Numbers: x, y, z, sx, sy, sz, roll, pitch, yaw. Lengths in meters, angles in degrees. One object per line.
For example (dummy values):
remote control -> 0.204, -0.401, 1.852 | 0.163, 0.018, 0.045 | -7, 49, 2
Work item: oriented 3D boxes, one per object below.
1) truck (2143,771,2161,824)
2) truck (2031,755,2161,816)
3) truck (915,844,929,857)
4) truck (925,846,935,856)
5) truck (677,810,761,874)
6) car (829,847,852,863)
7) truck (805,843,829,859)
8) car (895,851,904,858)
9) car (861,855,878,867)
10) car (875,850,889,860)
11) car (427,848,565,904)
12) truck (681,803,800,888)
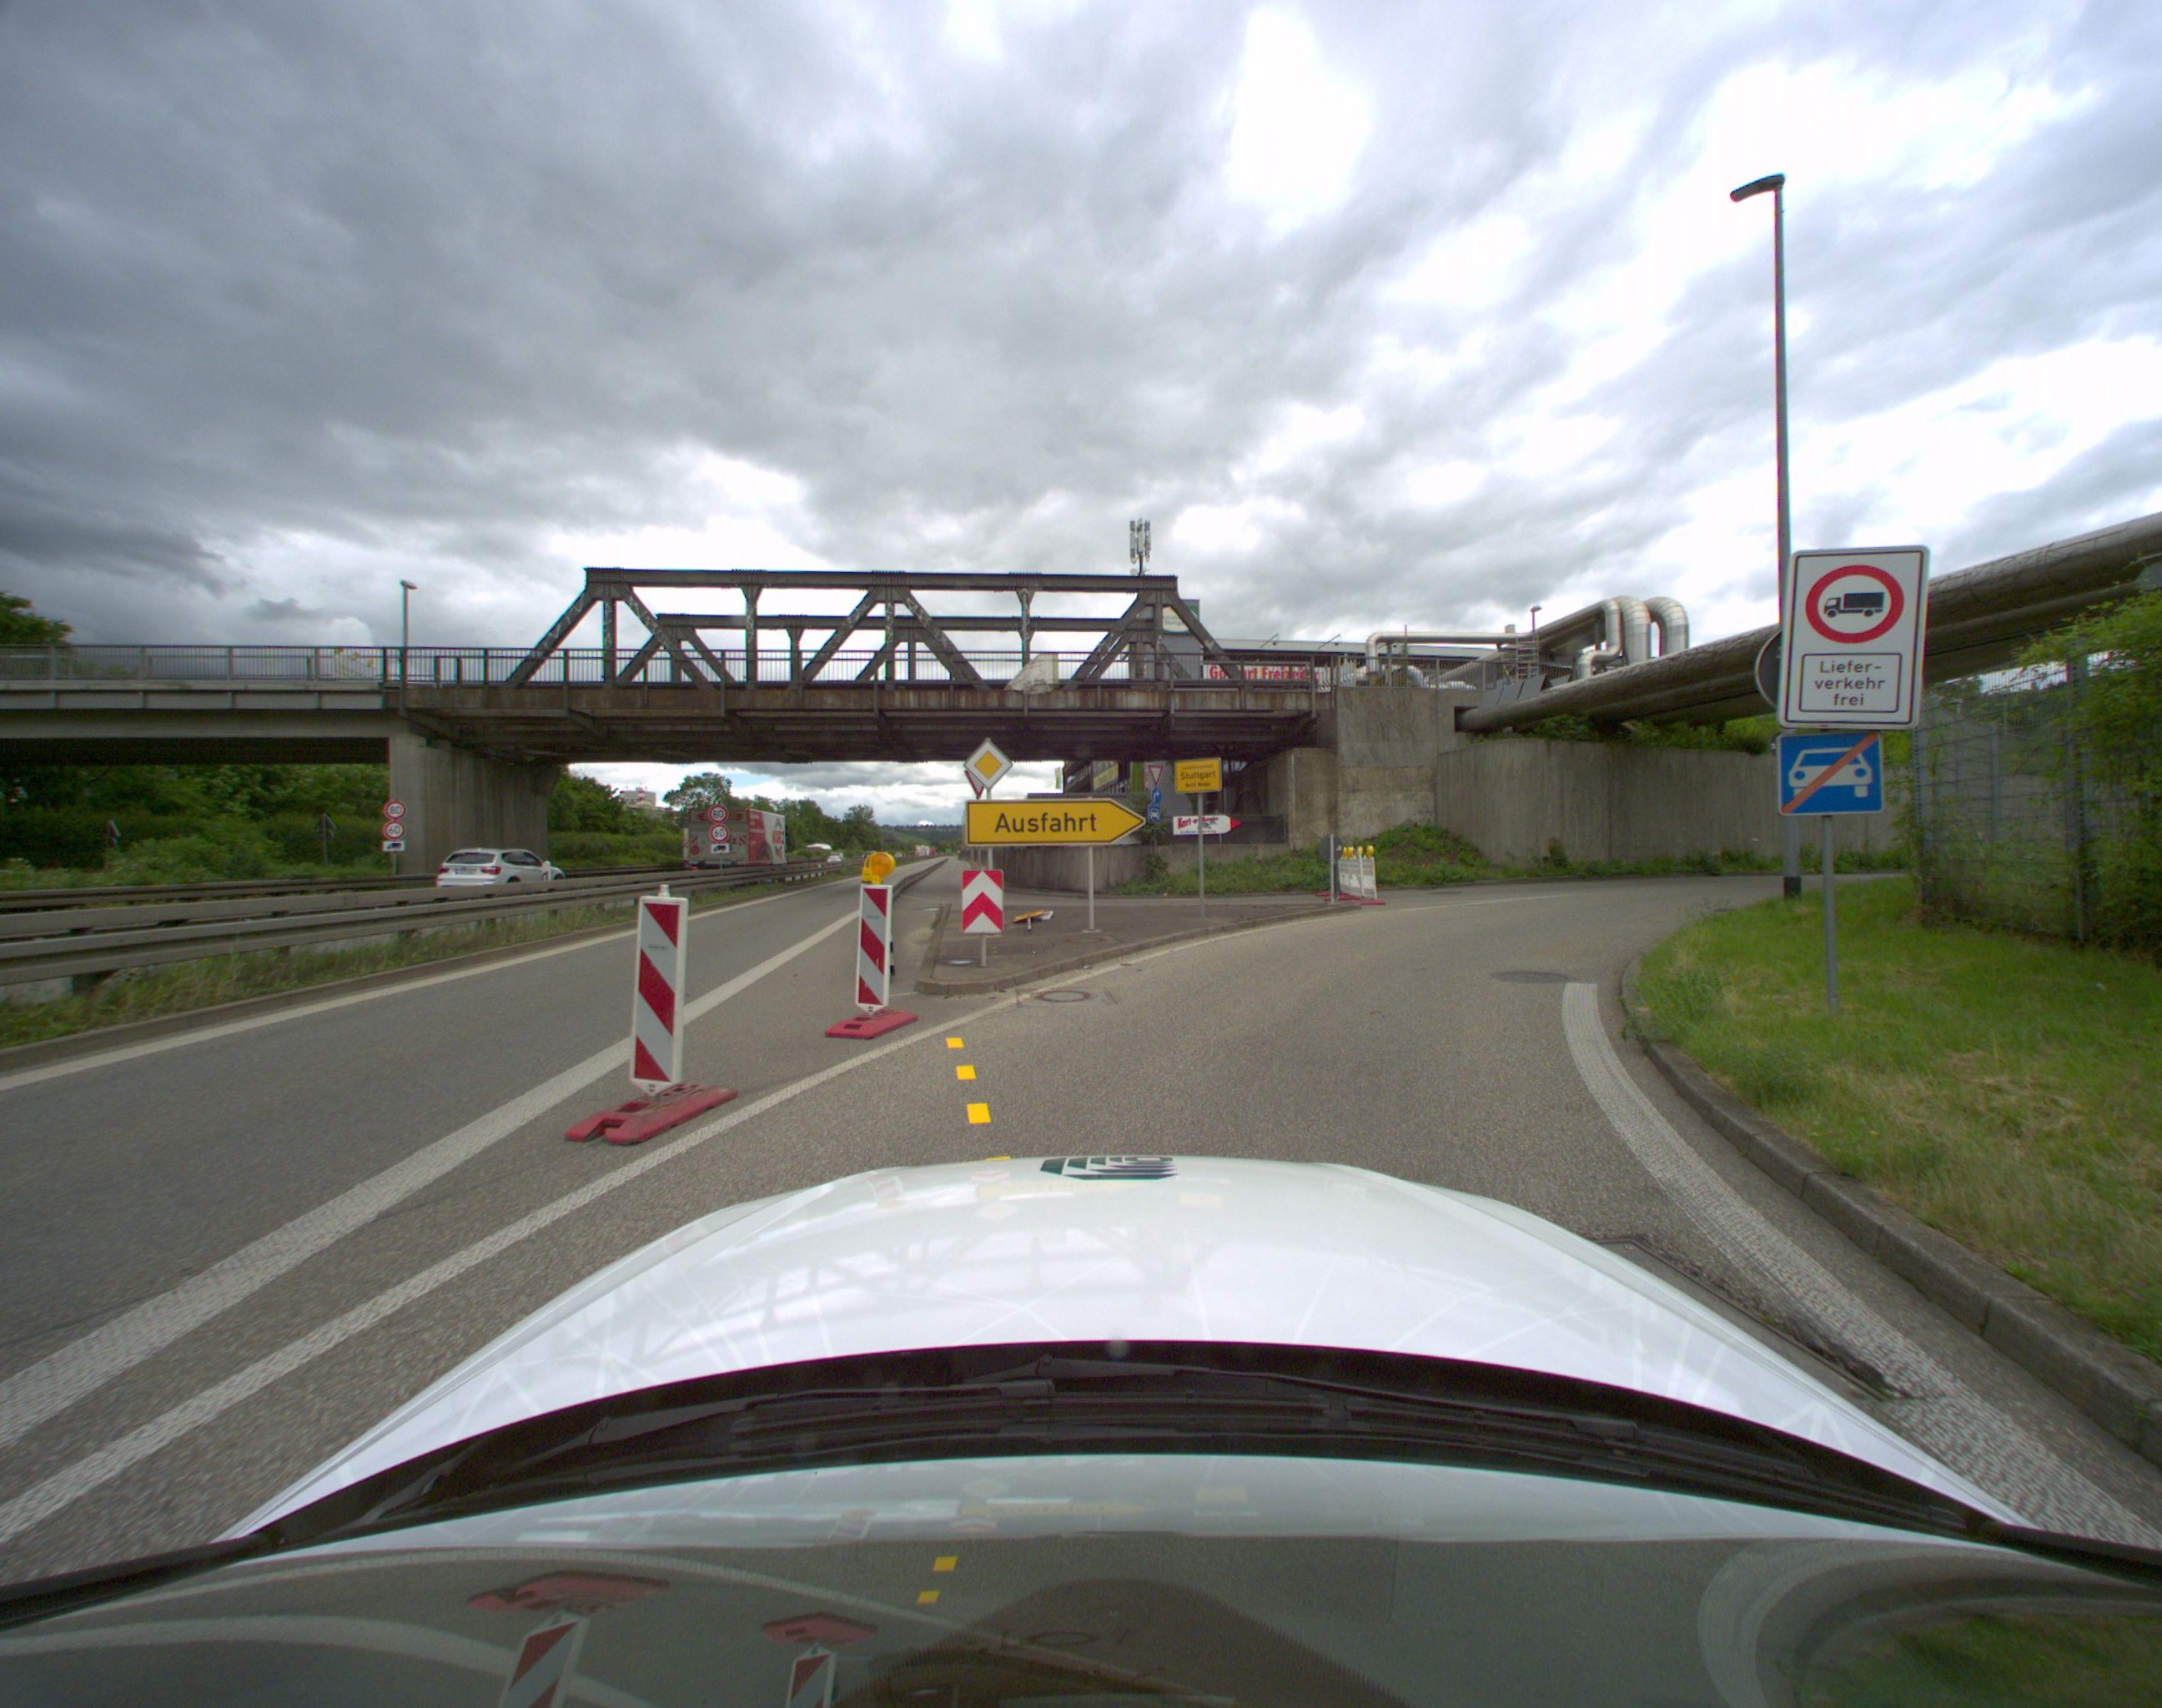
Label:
truck -> 79.081, -3.999, 55.541 | 3.069, 3.538, 7.770 | 2, -1, -44
truck -> 67.974, -4.411, 52.729 | 8.051, 3.538, 3.071 | 0, -1, 41
truck -> -46.170, -1.064, 236.584 | 3.717, 3.645, 7.707 | 0, 0, -8
truck -> -47.156, -0.901, 254.611 | 2.679, 3.140, 6.116 | 0, 0, -8
truck -> -21.820, -0.663, 49.600 | 2.996, 3.556, 7.709 | -1, 0, -12
car -> -28.230, 0.090, 95.801 | 1.992, 1.759, 3.989 | -1, 0, -8
truck -> -47.621, -0.450, 147.051 | 2.493, 2.846, 7.241 | 0, 0, -5
car -> -41.463, 0.057, 185.945 | 1.778, 1.596, 3.740 | 0, 0, -8
car -> -31.619, 1.076, 121.842 | 1.993, 1.759, 3.987 | -1, 0, -9
car -> -36.555, 0.137, 149.618 | 1.992, 1.816, 3.989 | 0, 0, -8
car -> -18.583, 0.648, 26.133 | 1.854, 1.640, 4.278 | 0, 0, -9
truck -> -16.457, -0.415, 40.262 | 2.952, 3.629, 10.124 | 0, 0, -8
